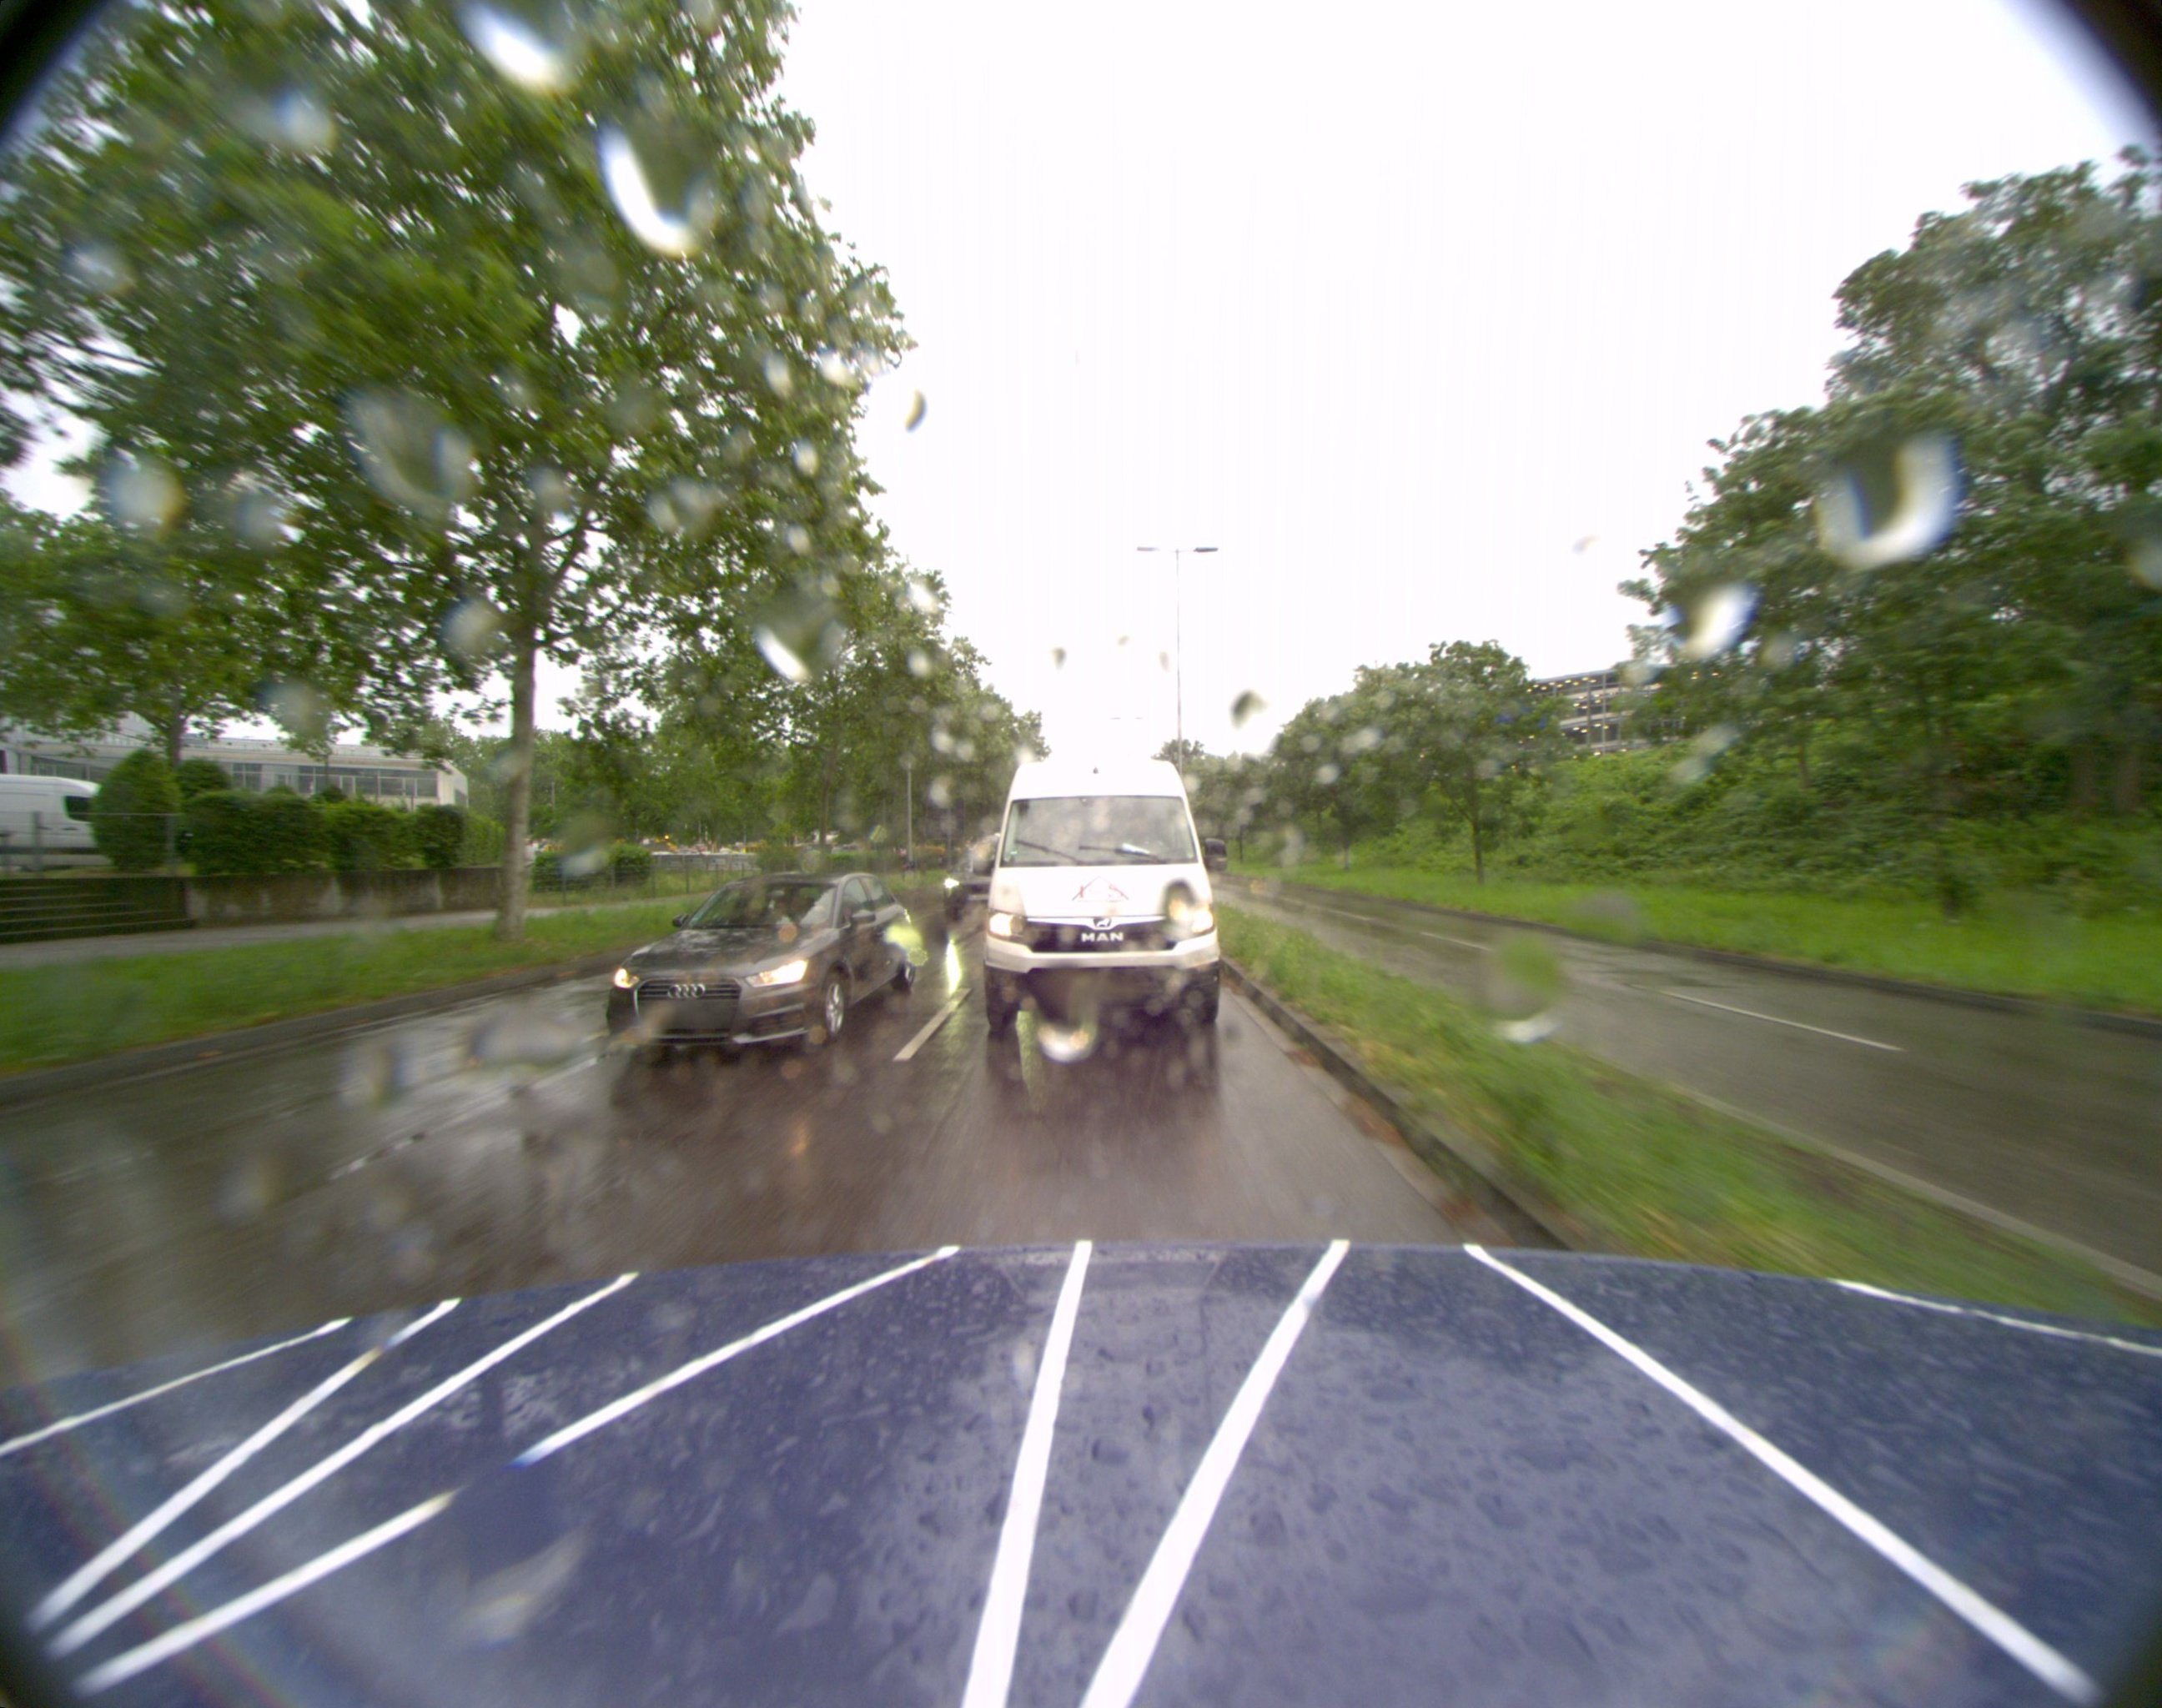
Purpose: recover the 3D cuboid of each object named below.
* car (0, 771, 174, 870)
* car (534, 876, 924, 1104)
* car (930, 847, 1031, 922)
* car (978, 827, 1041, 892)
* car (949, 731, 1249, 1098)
[{"bbox_3d":[-27.849,-0.806,19.335,5.706,2.442,1.995,-3,1,-36],"label":"car"},{"bbox_3d":[-2.843,1.009,7.178,1.840,1.390,3.753,-2,1,1],"label":"car"},{"bbox_3d":[-2.482,0.684,19.869,1.998,1.738,4.327,0,1,1],"label":"car"},{"bbox_3d":[-2.815,0.179,30.992,1.998,2.416,4.977,0,1,1],"label":"car"},{"bbox_3d":[0.120,0.366,7.992,1.969,2.420,5.960,0,1,0],"label":"car"}]
